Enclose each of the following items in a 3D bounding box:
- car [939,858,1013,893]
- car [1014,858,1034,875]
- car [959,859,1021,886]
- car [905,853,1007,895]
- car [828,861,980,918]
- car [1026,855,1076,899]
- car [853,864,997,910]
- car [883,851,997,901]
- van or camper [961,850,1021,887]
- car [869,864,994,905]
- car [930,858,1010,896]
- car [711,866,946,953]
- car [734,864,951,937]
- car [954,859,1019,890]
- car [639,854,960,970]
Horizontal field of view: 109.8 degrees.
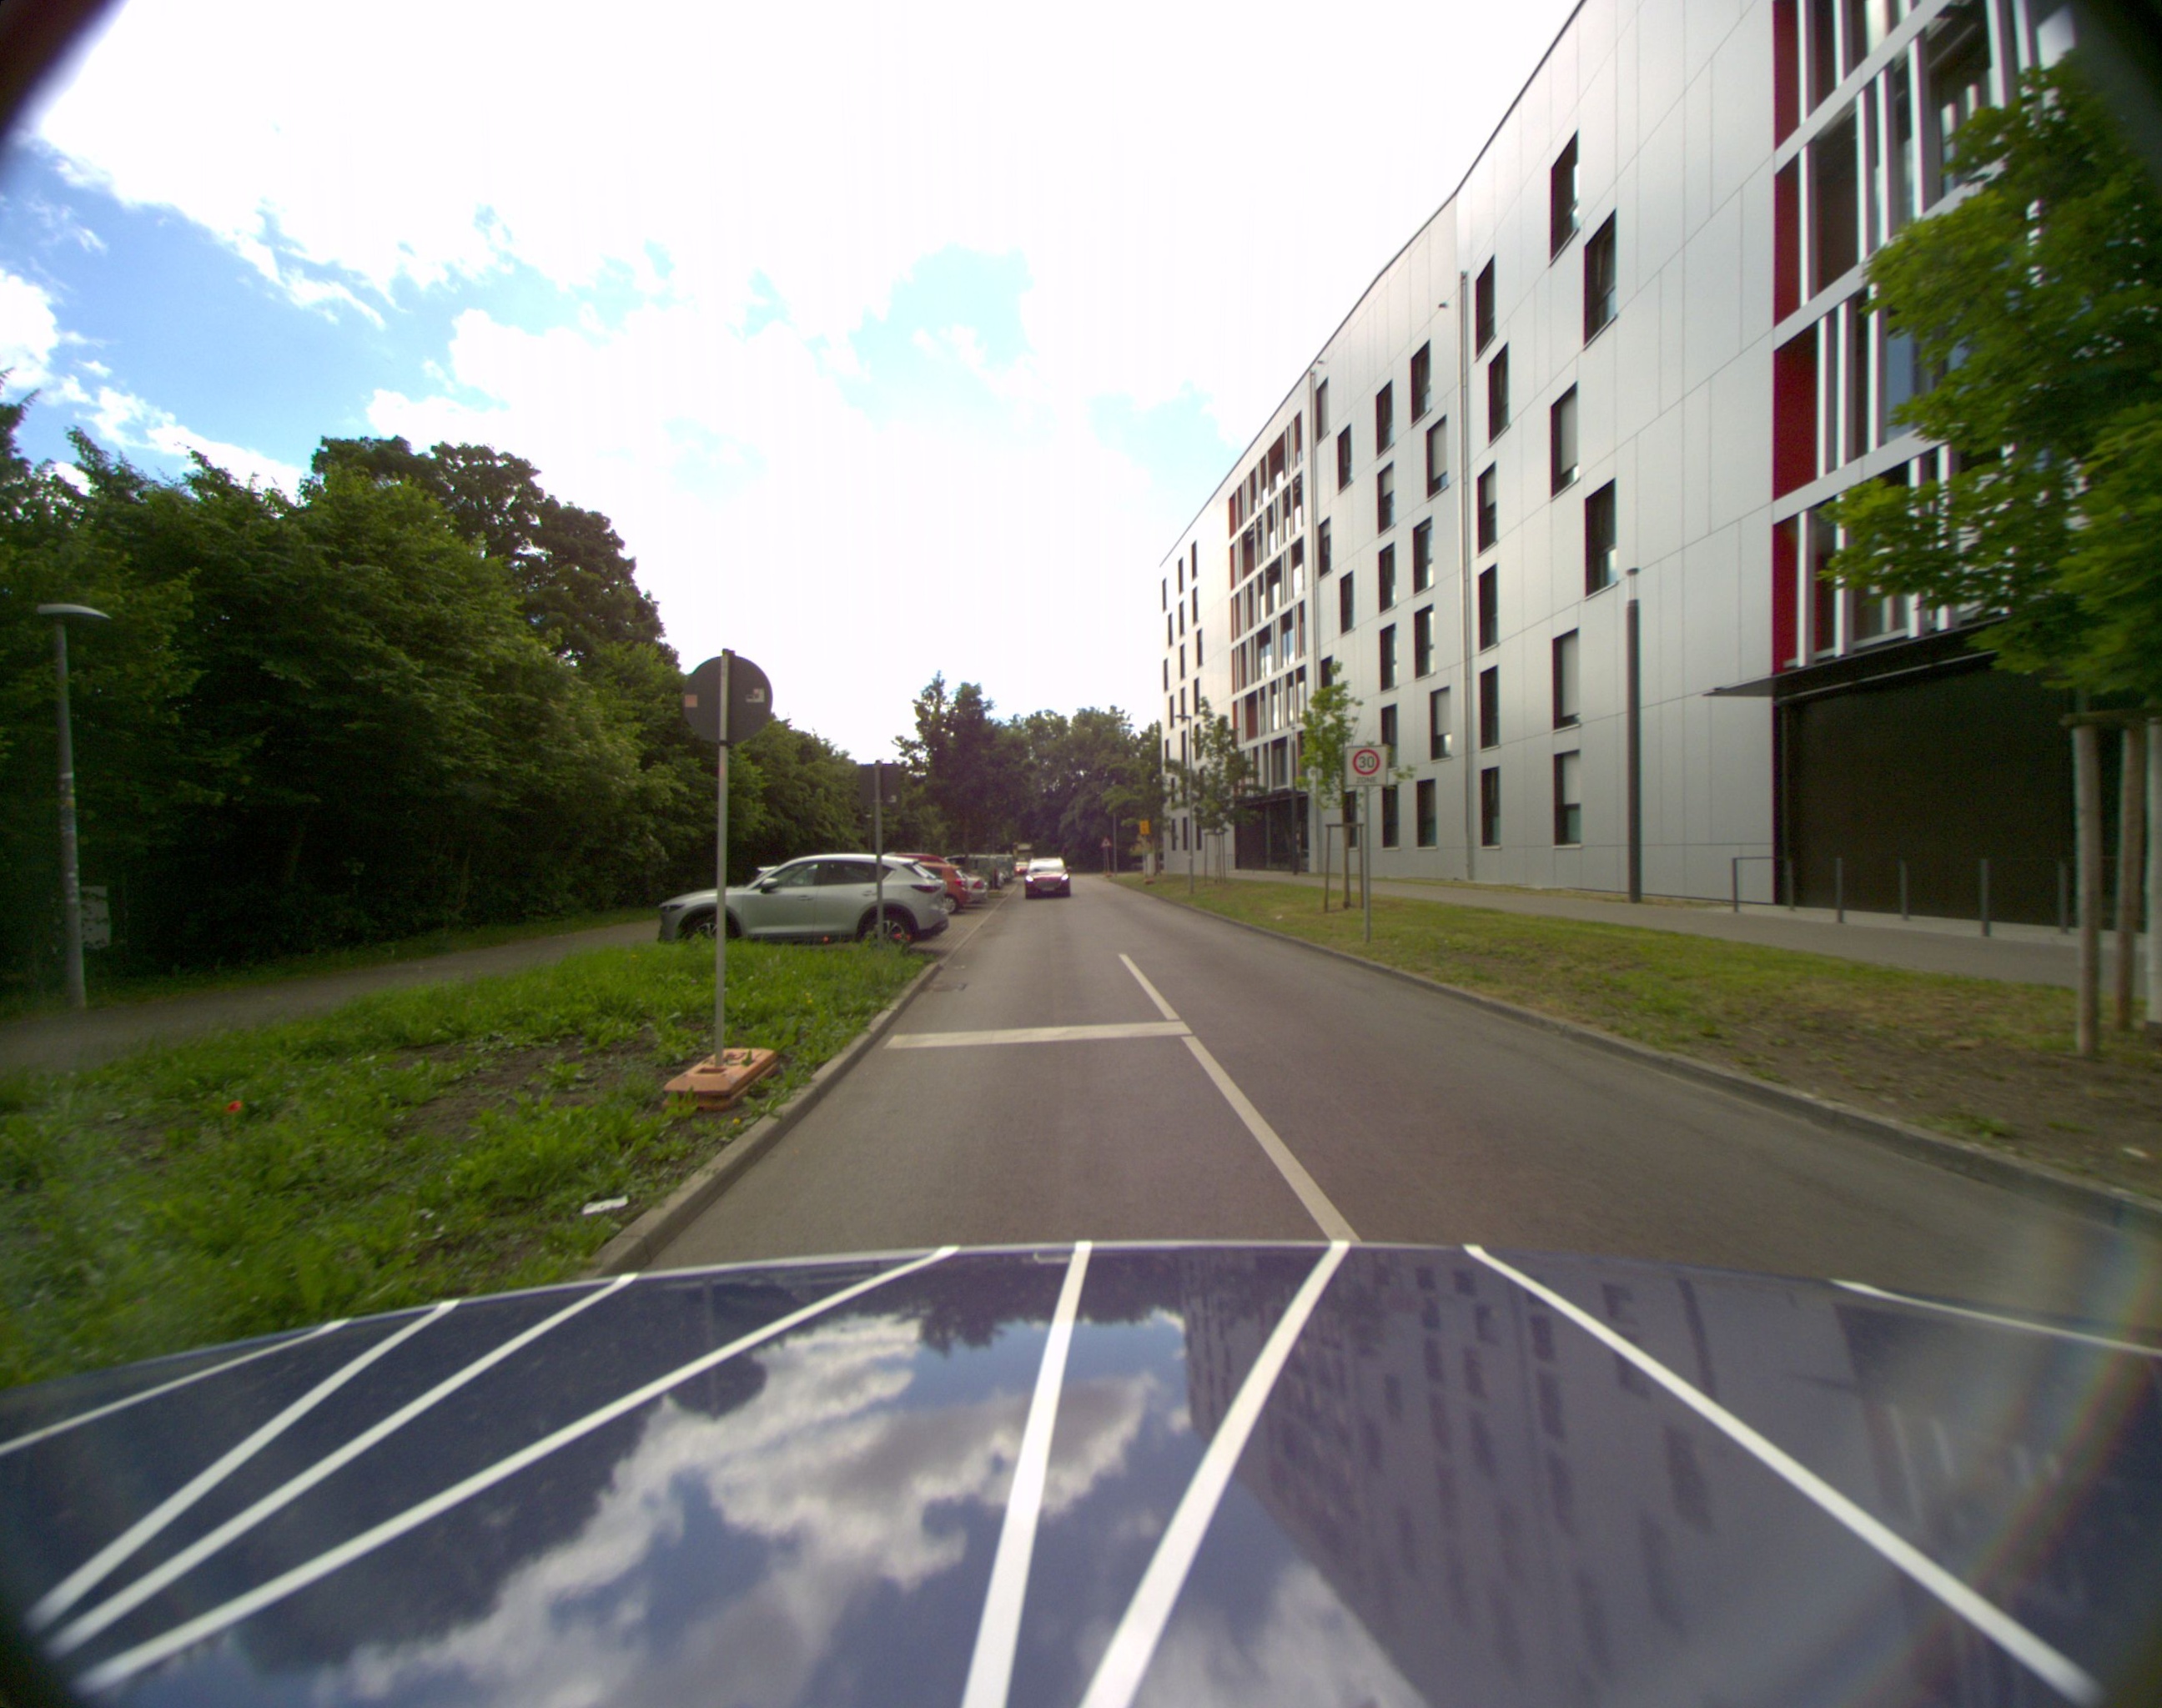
[{"bbox_3d":[-5.912,1.198,43.234,3.980,1.722,1.883,-3,0,-5],"label":"car"},{"bbox_3d":[-5.565,1.196,73.889,1.818,1.608,3.997,0,0,-7],"label":"car"},{"bbox_3d":[-6.057,1.228,50.952,3.980,1.594,2.104,-2,2,-5],"label":"car"},{"bbox_3d":[-5.810,0.948,35.735,4.564,1.888,1.883,1,0,-5],"label":"car"},{"bbox_3d":[-5.220,1.033,22.749,4.158,1.582,1.677,0,0,-1],"label":"car"},{"bbox_3d":[-1.295,0.914,32.454,1.933,1.622,4.241,-3,0,-3],"label":"car"},{"bbox_3d":[-5.060,1.060,25.154,4.408,1.427,1.943,0,0,-3],"label":"car"},{"bbox_3d":[-5.553,0.863,30.343,4.293,1.881,1.837,0,0,-5],"label":"car"},{"bbox_3d":[-6.235,0.994,53.248,3.980,2.306,1.883,-3,0,-5],"label":"van or camper"},{"bbox_3d":[-5.417,1.103,27.956,4.293,1.401,1.837,0,0,-5],"label":"car"},{"bbox_3d":[-5.856,1.195,40.544,3.980,1.722,1.883,-3,0,-5],"label":"car"},{"bbox_3d":[-4.922,1.059,15.327,4.167,1.577,1.795,-1,0,-5],"label":"car"},{"bbox_3d":[-5.380,1.038,17.681,4.490,1.553,1.911,0,0,-5],"label":"car"},{"bbox_3d":[-5.969,1.275,48.395,3.980,1.722,1.883,-3,0,-5],"label":"car"},{"bbox_3d":[-4.436,0.909,12.712,4.663,1.742,2.069,1,0,-7],"label":"car"}]
